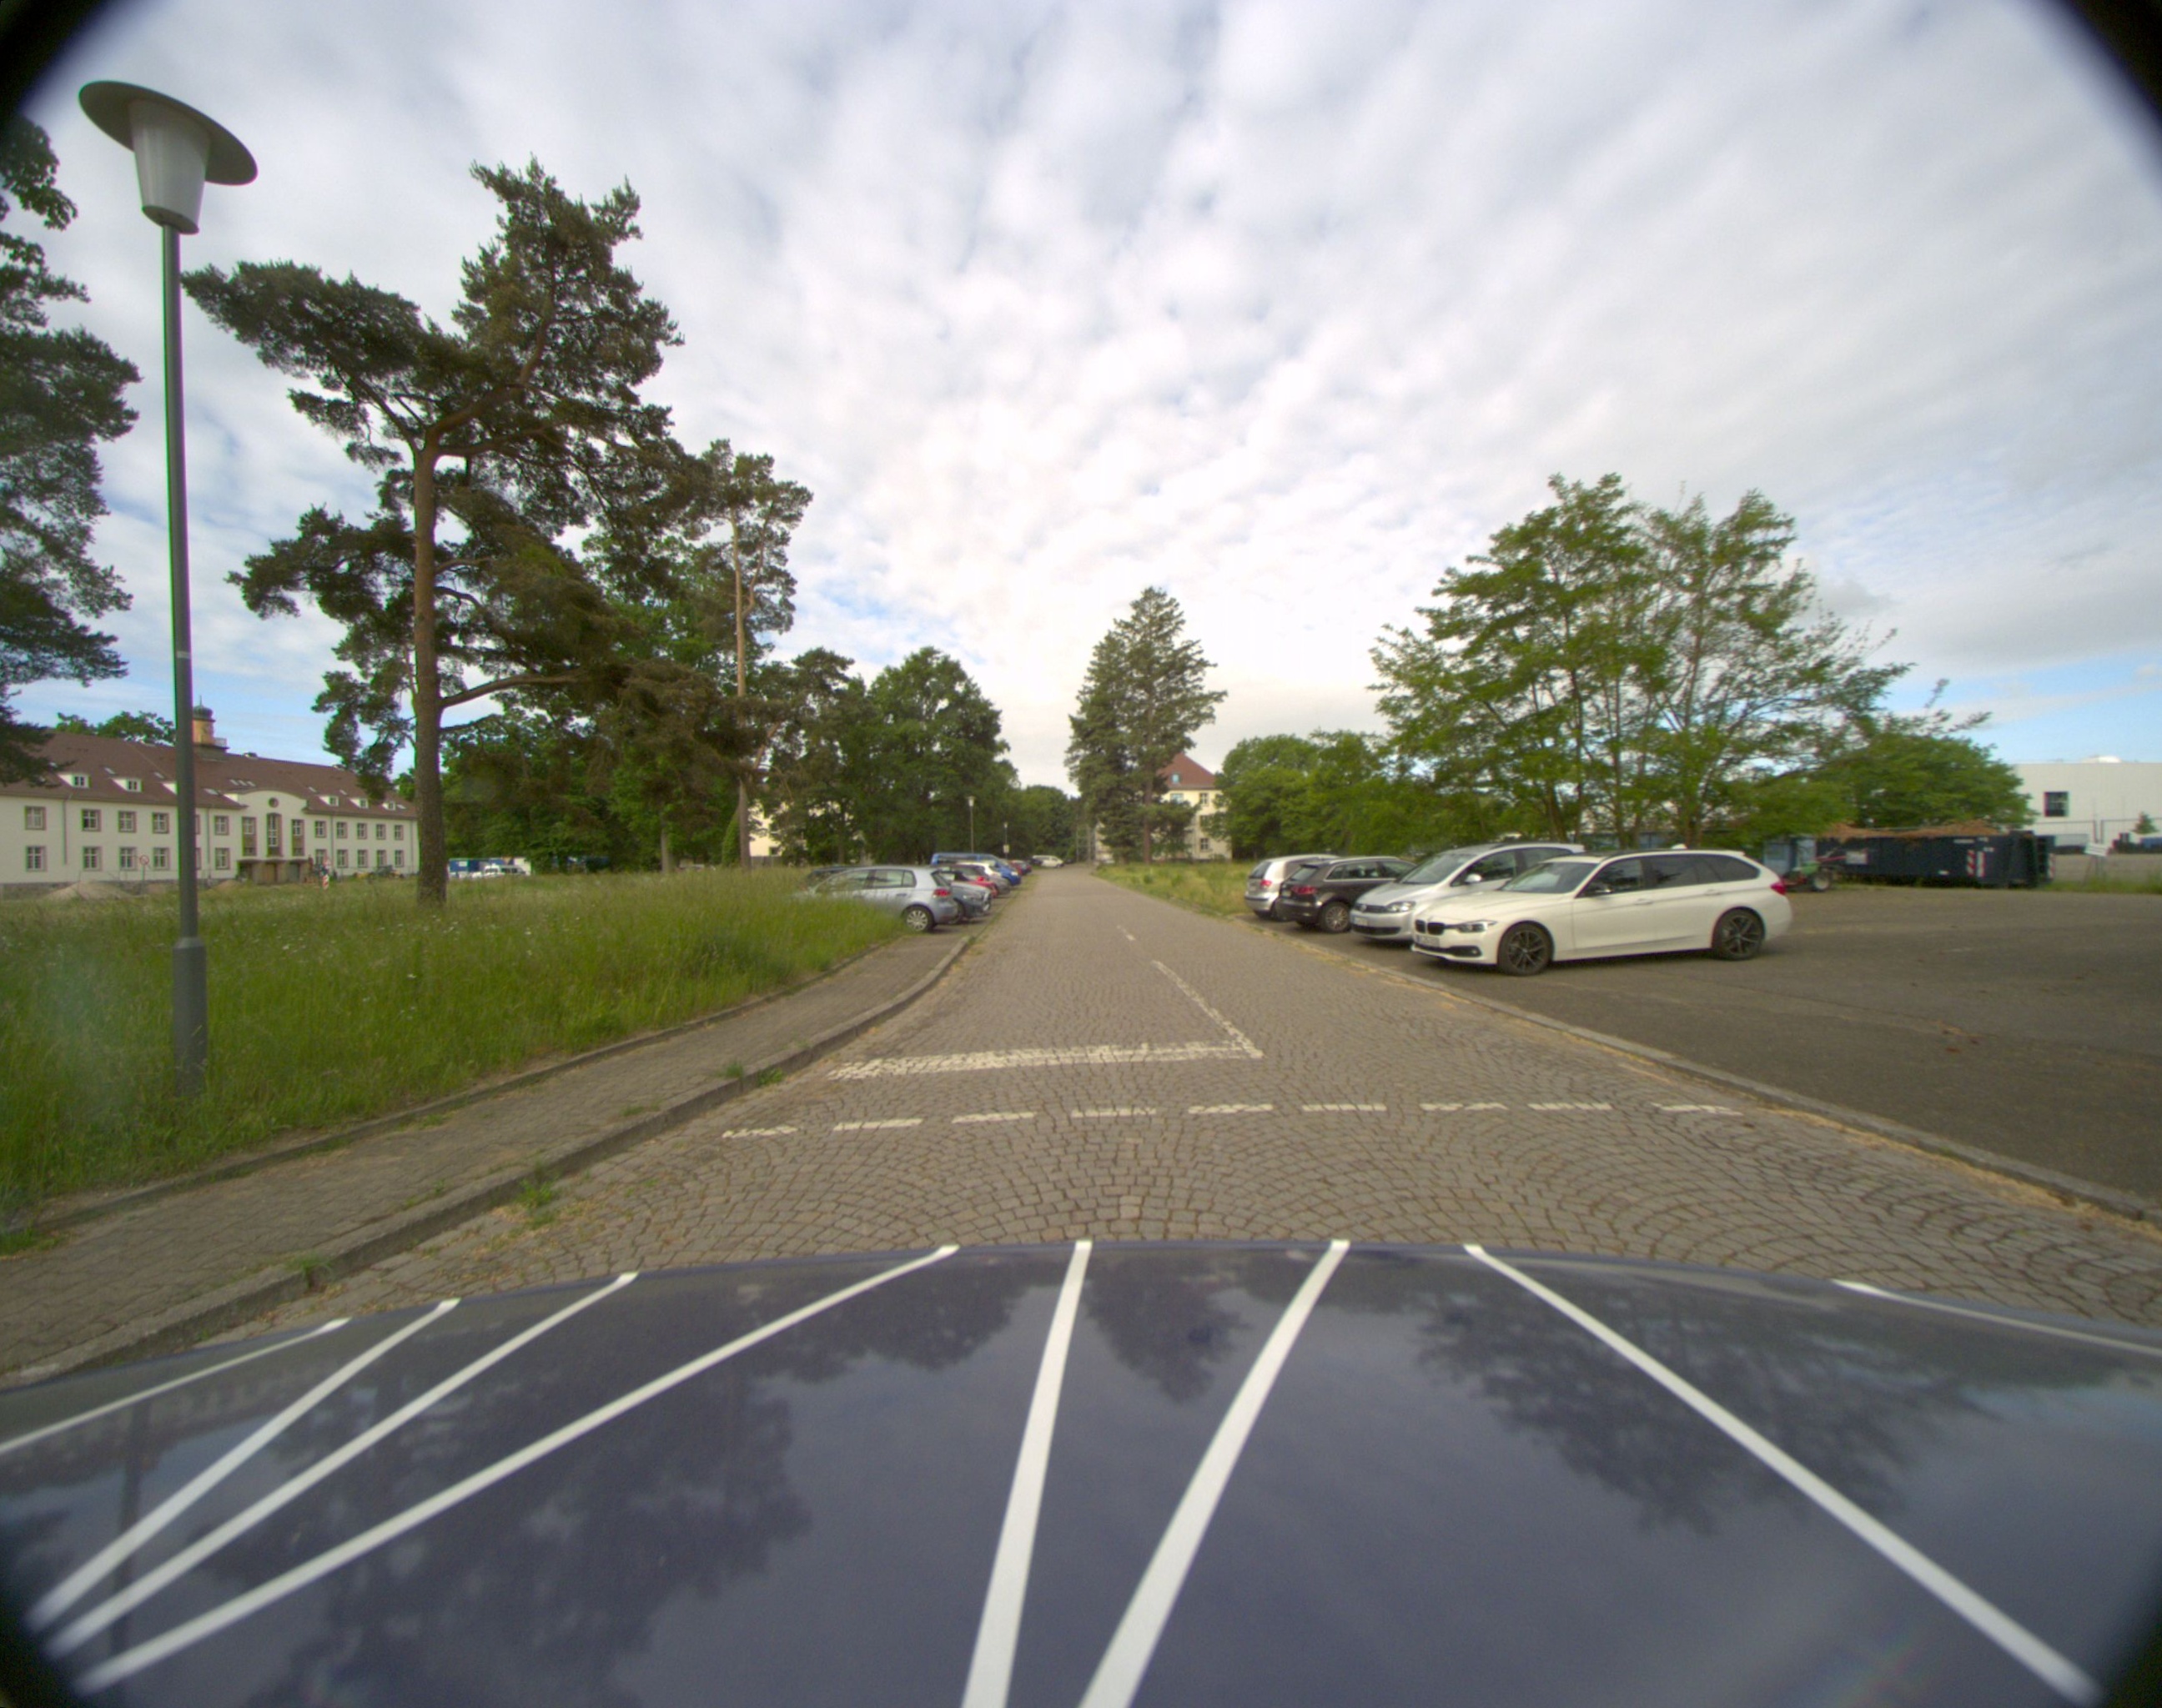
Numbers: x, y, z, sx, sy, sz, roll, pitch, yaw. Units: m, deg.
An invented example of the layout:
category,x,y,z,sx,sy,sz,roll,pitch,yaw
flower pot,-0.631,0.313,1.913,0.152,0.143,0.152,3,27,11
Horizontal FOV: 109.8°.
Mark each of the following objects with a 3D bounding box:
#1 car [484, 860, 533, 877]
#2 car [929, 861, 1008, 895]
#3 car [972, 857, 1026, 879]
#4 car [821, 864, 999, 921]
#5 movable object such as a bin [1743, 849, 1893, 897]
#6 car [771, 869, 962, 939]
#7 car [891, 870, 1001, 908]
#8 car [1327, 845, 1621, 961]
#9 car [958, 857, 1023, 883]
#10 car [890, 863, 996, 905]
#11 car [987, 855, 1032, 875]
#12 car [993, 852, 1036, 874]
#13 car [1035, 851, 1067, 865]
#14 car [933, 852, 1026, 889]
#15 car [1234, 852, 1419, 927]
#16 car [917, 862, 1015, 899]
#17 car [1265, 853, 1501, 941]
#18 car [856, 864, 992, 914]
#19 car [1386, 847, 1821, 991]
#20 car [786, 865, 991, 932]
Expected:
category,x,y,z,sx,sy,sz,roll,pitch,yaw
car,-71.173,1.802,94.568,2.154,2.002,5.224,-1,0,1
car,-5.151,1.087,35.036,3.409,1.443,1.637,-1,0,-1
car,-6.421,1.104,59.697,3.998,1.521,2.000,-2,0,-2
car,-4.857,1.089,22.091,4.770,1.474,1.812,-1,0,-2
movable object such as a bin,18.987,0.461,19.663,2.397,1.154,1.500,-1,0,3
car,-4.559,1.043,16.589,3.774,1.418,1.605,0,0,-5
car,-4.671,1.206,26.611,3.600,1.200,1.494,-1,0,-1
car,6.413,0.746,12.627,3.999,1.538,1.723,-3,1,-7
car,-5.836,1.029,49.382,3.998,1.601,2.000,-1,0,-2
car,-5.251,1.123,29.317,3.787,1.497,1.798,-1,0,-4
car,-6.546,0.960,69.946,4.008,1.752,2.000,-1,0,-1
car,-6.456,0.855,74.348,3.997,2.002,2.000,-1,0,-1
car,-4.893,0.644,123.301,5.031,2.164,2.000,-1,0,0
car,-5.332,0.846,40.455,4.750,1.928,1.999,0,0,-2
car,5.746,0.795,18.053,3.689,1.444,1.807,-4,1,-7
car,-4.823,1.086,32.222,3.849,1.448,1.820,-1,0,0
car,5.967,0.805,15.310,3.998,1.419,1.750,-4,1,-3
car,-4.948,1.087,24.351,3.972,1.443,1.799,-1,0,-2
car,6.755,0.769,10.088,4.661,1.435,1.801,-3,1,-6
car,-4.724,1.080,19.209,4.771,1.474,1.761,-1,0,-5
